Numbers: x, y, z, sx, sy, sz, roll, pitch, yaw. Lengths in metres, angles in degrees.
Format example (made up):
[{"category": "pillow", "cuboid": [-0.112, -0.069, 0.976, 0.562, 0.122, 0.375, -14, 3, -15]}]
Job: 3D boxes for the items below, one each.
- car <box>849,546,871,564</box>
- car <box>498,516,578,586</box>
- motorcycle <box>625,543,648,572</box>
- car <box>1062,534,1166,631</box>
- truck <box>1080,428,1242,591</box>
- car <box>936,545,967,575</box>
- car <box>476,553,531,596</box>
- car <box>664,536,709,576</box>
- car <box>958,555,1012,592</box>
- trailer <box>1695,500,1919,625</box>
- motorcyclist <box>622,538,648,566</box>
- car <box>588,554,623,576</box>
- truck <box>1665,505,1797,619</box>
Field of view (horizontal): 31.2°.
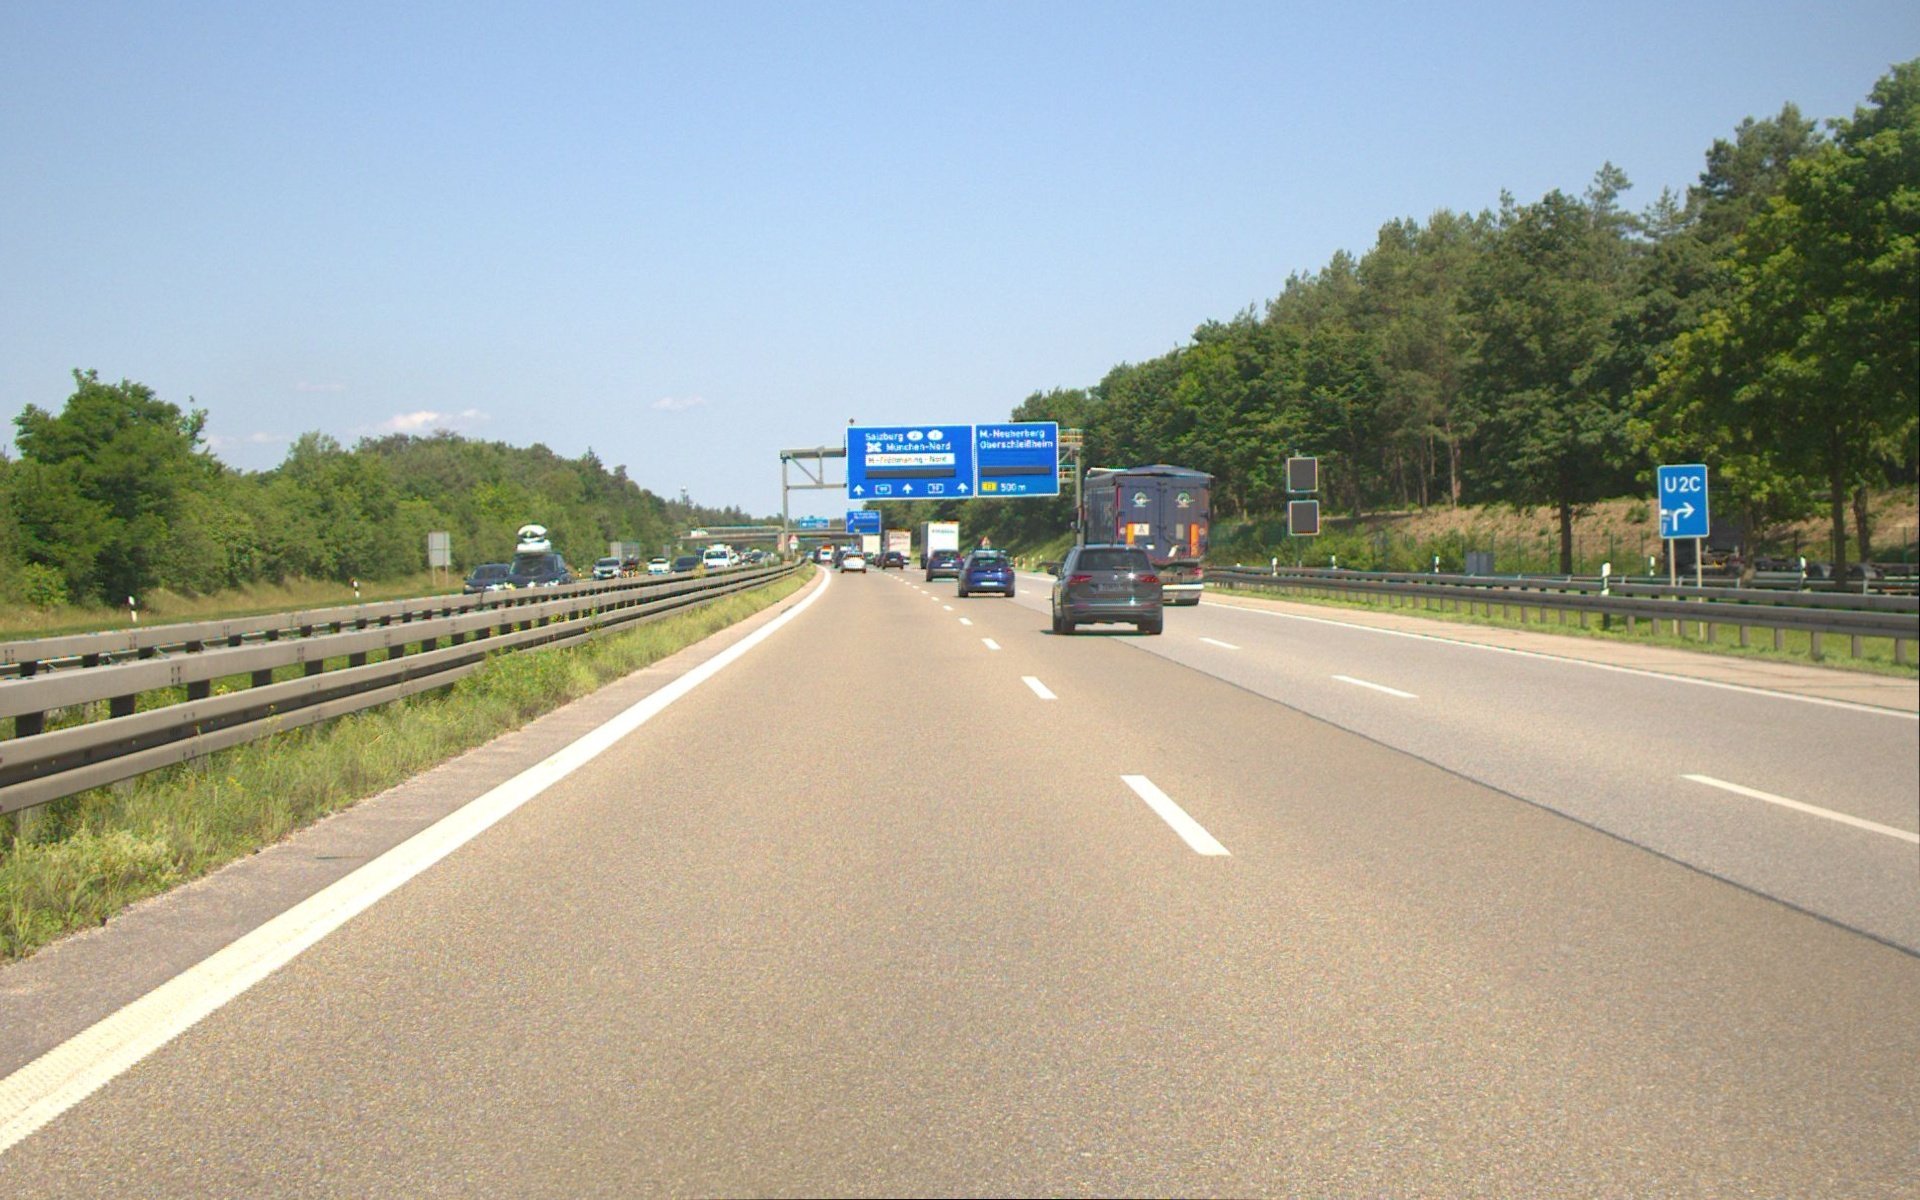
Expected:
[{"category": "car", "cuboid": [-6.910, -3.142, 238.348, 1.471, 1.223, 3.410, 0, 1, 0]}, {"category": "car", "cuboid": [-13.200, -1.522, 107.780, 1.993, 2.102, 4.302, -1, 1, -1]}, {"category": "motorcycle", "cuboid": [-12.404, -1.629, 131.861, 0.664, 1.072, 1.881, -2, 1, 0]}, {"category": "car", "cuboid": [2.794, -0.344, 62.542, 1.799, 1.663, 4.258, 1, 1, 2]}, {"category": "truck", "cuboid": [5.700, -2.551, 100.179, 3.780, 4.407, 14.051, 0, 1, 0]}, {"category": "car", "cuboid": [-0.429, -2.001, 171.825, 1.471, 1.393, 3.410, 2, 1, 0]}, {"category": "car", "cuboid": [-16.133, -0.907, 121.641, 1.513, 1.481, 3.373, -1, 1, -1]}, {"category": "car", "cuboid": [-14.056, -2.283, 176.915, 1.993, 2.007, 4.000, 0, 1, -1]}, {"category": "car", "cuboid": [0.808, -0.880, 112.980, 1.709, 1.151, 3.689, 0, 1, 0]}, {"category": "trailer", "cuboid": [28.424, -1.255, 114.040, 2.571, 3.901, 12.753, 0, 1, -14]}, {"category": "motorcyclist", "cuboid": [-12.452, -1.835, 131.702, 0.875, 1.072, 0.811, -2, 0, 0]}, {"category": "car", "cuboid": [-22.655, -2.247, 219.862, 1.788, 1.434, 4.521, 0, 1, 0]}, {"category": "truck", "cuboid": [26.908, -1.323, 120.191, 2.571, 3.901, 4.867, 0, 1, -14]}]
